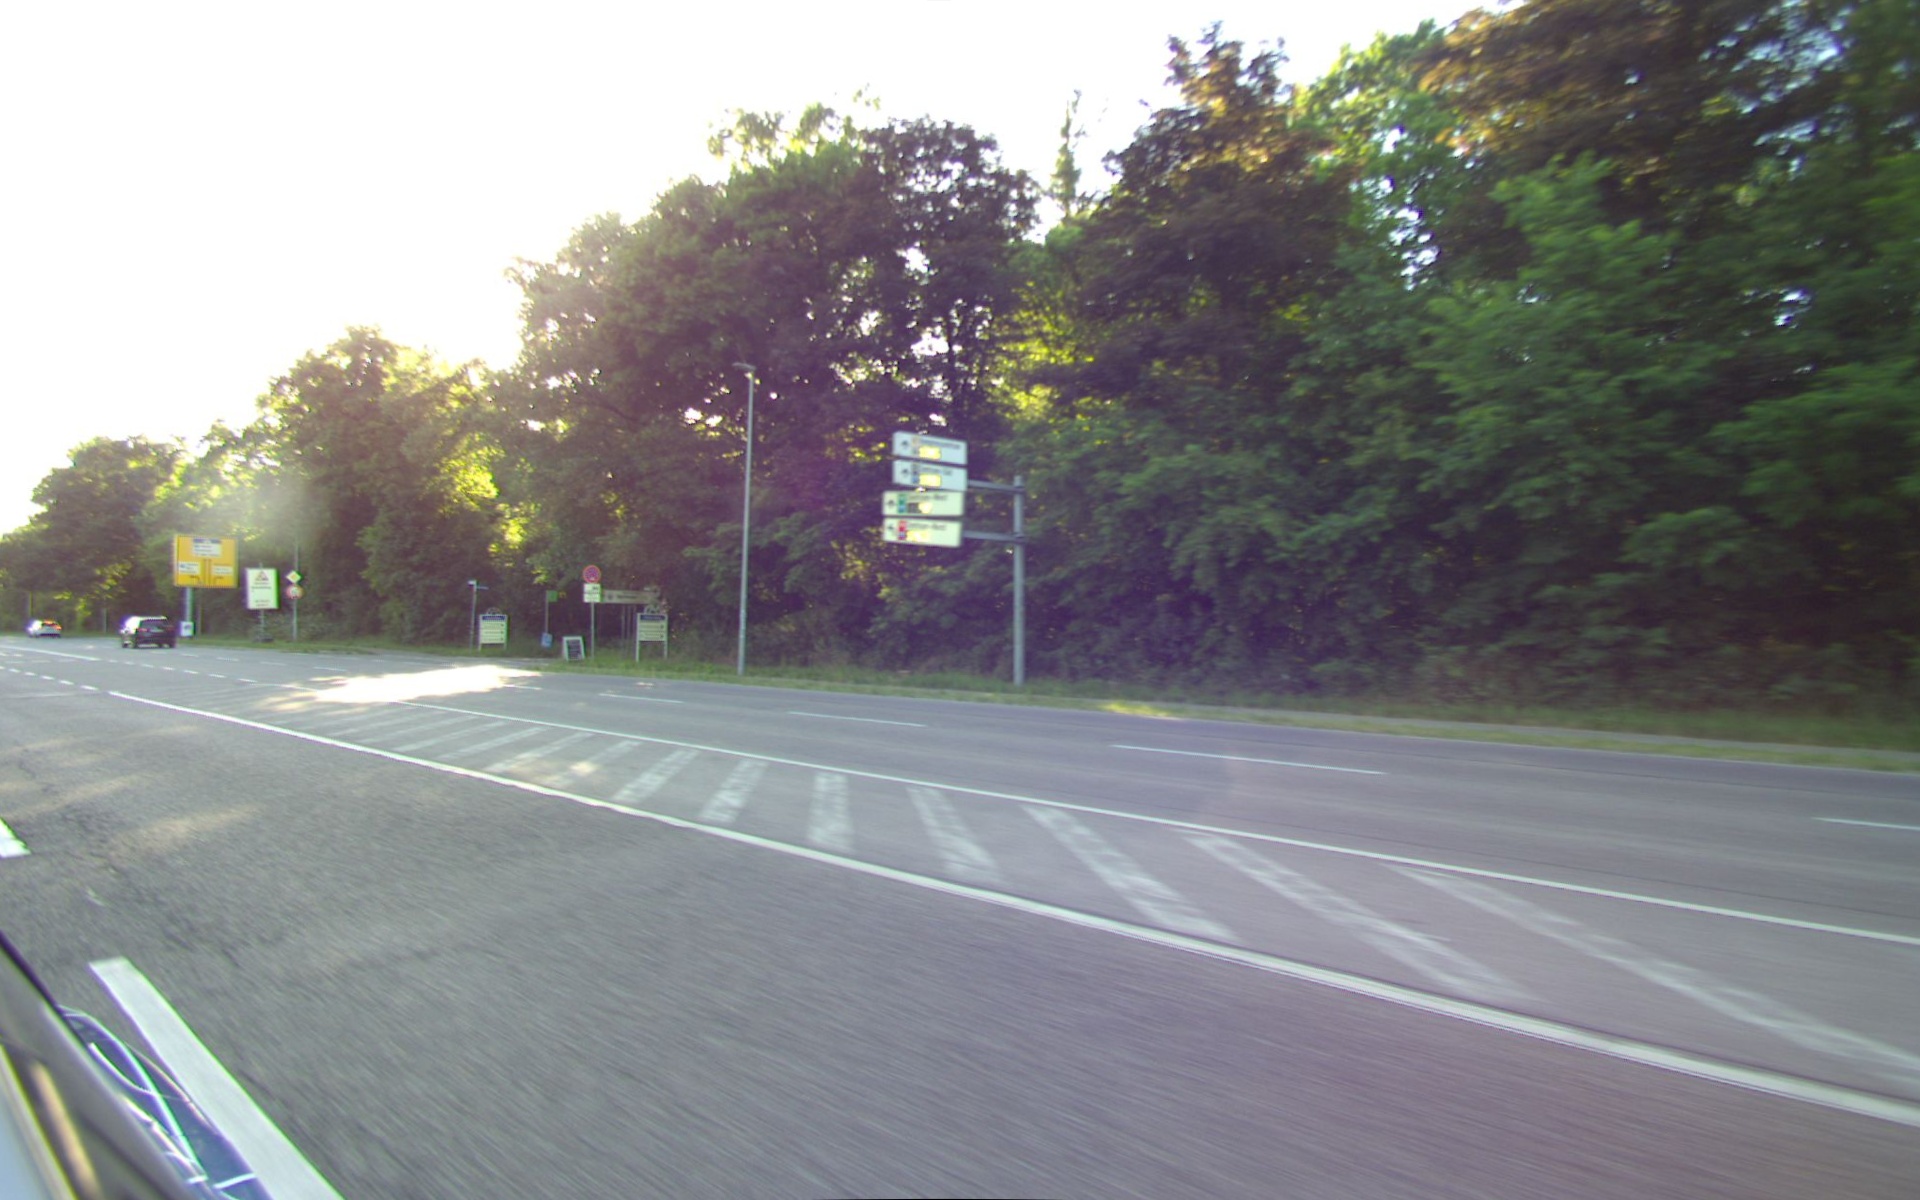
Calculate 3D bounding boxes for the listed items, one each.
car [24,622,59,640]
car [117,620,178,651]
[{"bbox_3d":[-81.958,2.752,90.267,4.304,1.515,1.806,-1,-2,41],"label":"car"},{"bbox_3d":[-42.973,1.844,53.495,4.349,1.601,1.806,-1,-2,41],"label":"car"}]
